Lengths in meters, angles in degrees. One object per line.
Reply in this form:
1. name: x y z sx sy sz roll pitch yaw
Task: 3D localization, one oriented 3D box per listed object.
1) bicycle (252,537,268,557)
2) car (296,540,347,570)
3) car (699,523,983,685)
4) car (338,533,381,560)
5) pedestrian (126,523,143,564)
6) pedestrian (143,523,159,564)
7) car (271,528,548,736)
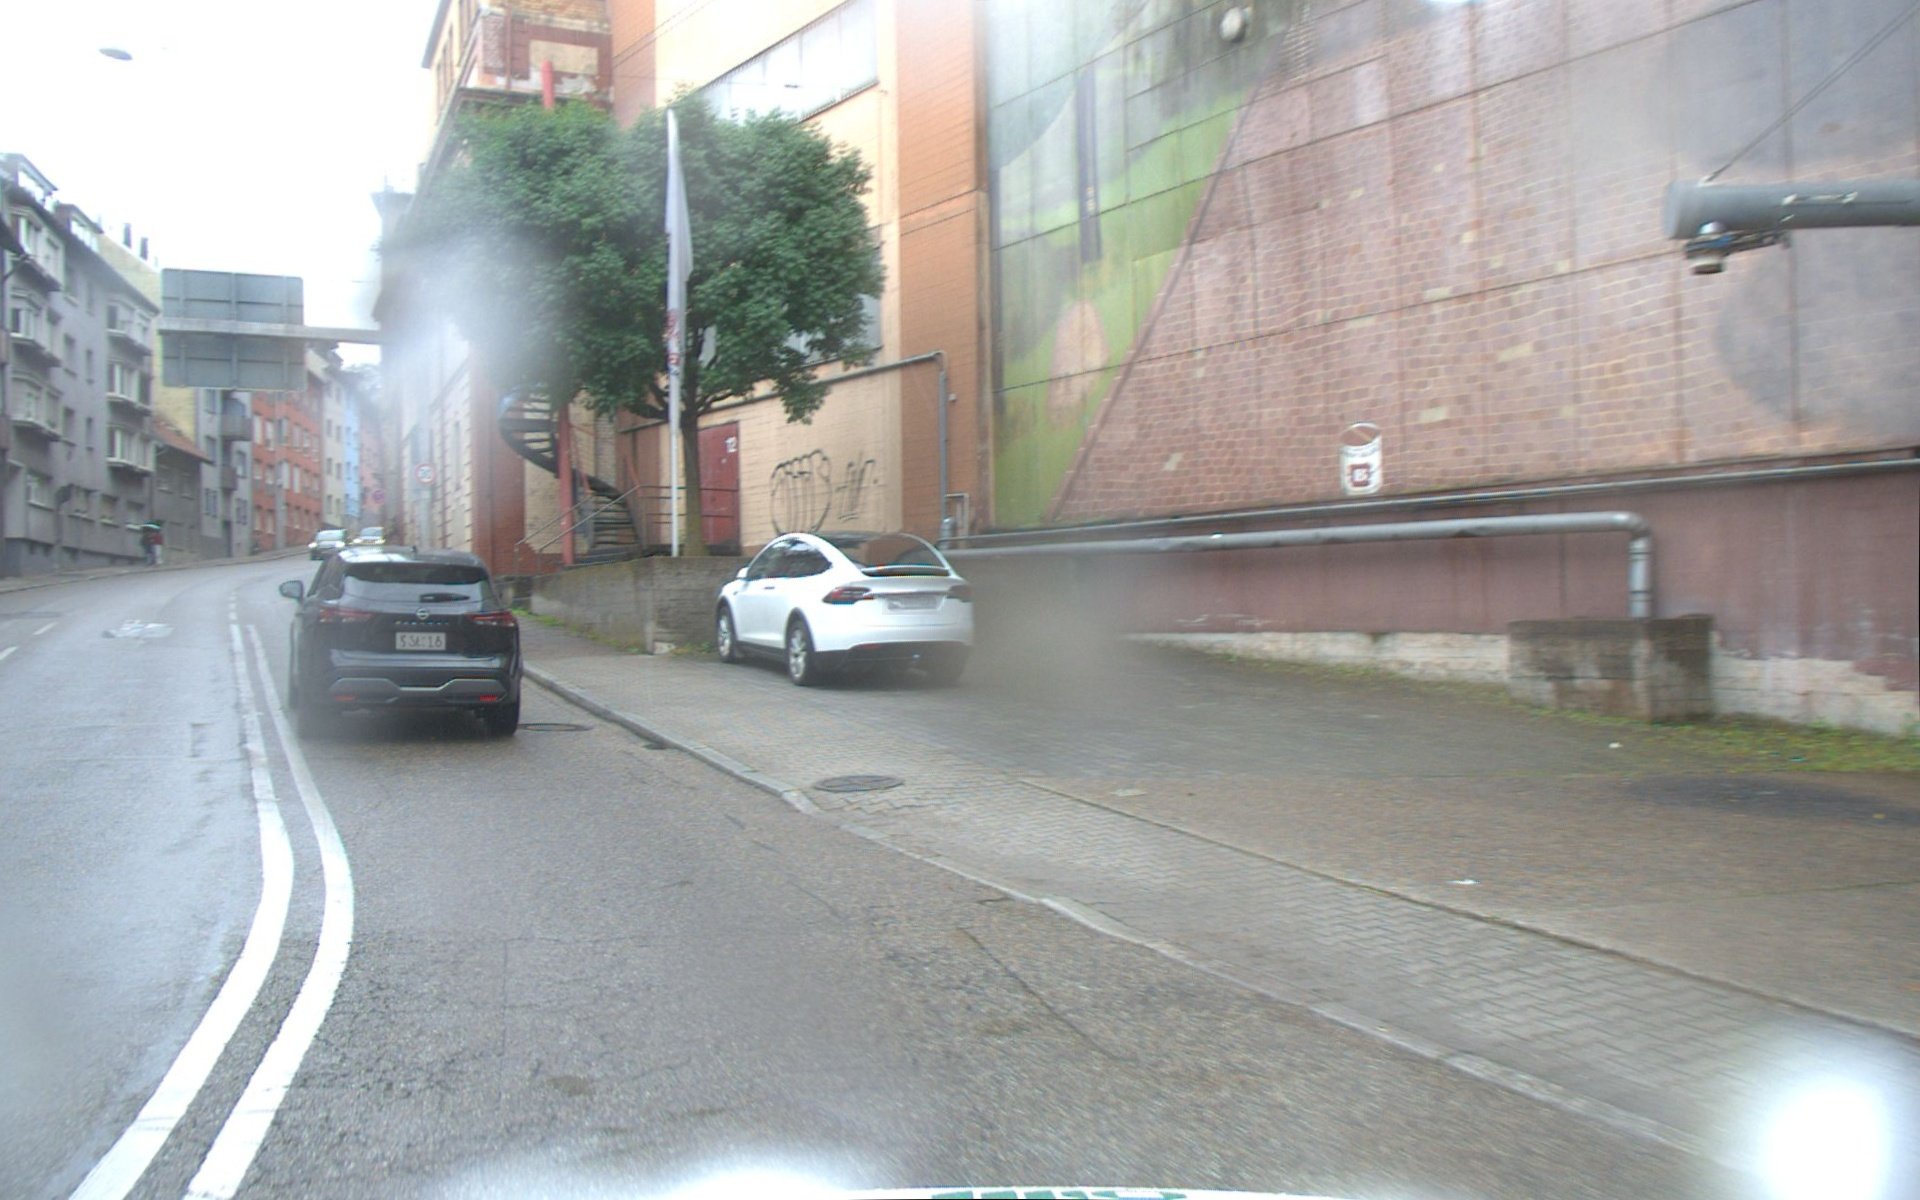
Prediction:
1. bicycle: -41.553 -3.132 98.251 0.489 1.126 1.796 0 4 -11
2. car: -34.965 -2.472 90.627 1.761 1.537 3.992 -1 0 -9
3. car: -1.594 -0.069 19.929 1.829 1.645 4.878 -1 3 -25
4. car: -37.200 -3.284 102.569 1.761 1.537 3.992 -1 0 -9
5. pedestrian: -36.661 -2.524 73.464 0.515 1.806 0.619 -1 3 -18
6. pedestrian: -36.028 -2.532 73.692 0.515 1.806 0.619 -1 3 -18
7. car: -5.118 0.265 15.049 1.858 1.622 3.888 1 -1 -26
